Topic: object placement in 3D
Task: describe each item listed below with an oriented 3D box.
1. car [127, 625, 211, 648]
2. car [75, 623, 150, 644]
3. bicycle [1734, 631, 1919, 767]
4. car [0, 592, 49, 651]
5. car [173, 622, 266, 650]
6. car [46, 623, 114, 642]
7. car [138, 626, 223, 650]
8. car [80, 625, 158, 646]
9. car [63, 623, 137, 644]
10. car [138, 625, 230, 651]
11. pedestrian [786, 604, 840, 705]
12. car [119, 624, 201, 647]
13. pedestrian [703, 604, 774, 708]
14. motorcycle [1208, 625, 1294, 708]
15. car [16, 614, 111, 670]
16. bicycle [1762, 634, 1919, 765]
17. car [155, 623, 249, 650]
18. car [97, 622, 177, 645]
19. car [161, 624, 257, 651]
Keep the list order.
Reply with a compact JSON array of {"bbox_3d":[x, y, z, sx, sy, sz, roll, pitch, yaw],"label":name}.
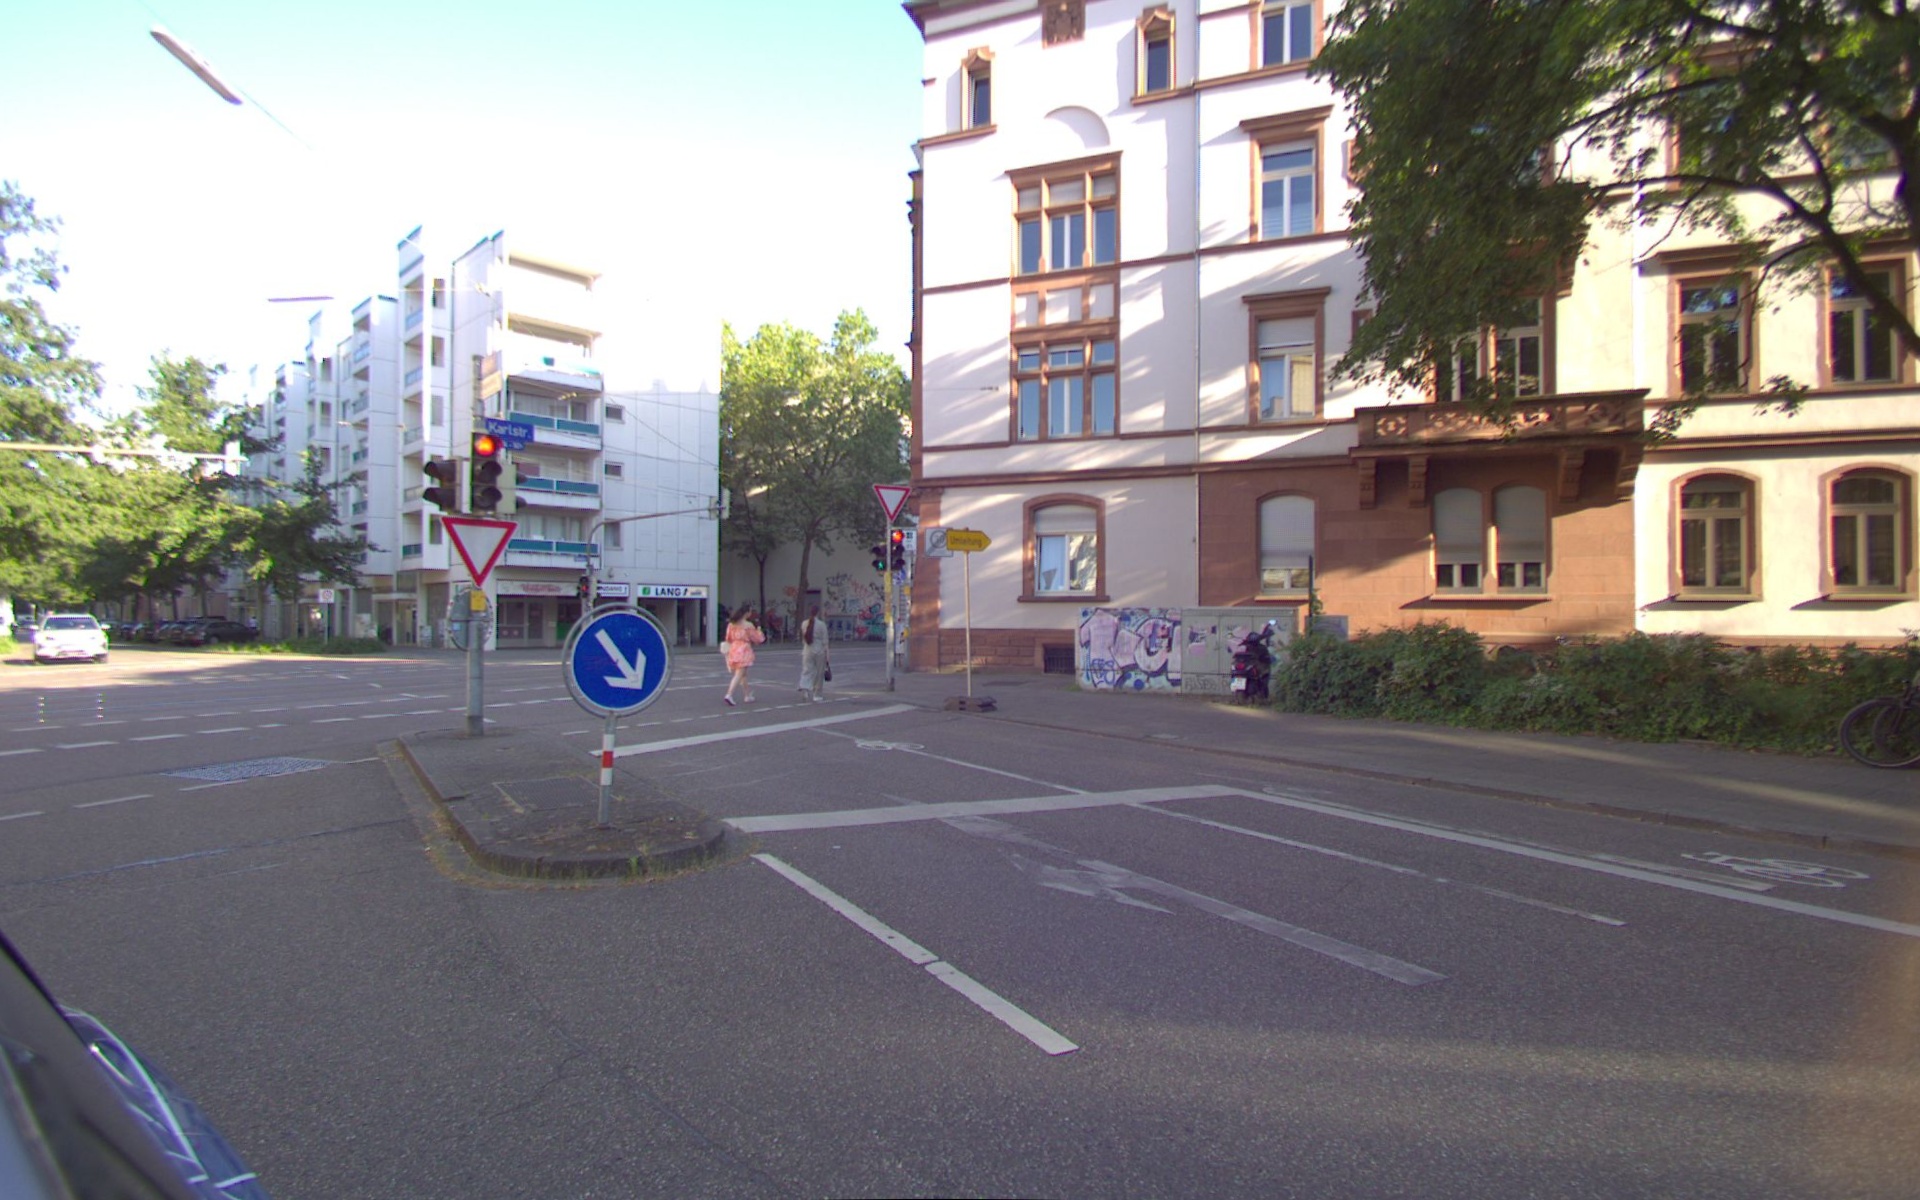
[{"bbox_3d":[-55.303,2.543,70.789,1.997,1.597,4.249,-1,-2,38],"label":"car"},{"bbox_3d":[-66.866,2.619,79.913,1.997,1.597,4.249,-1,-2,38],"label":"car"},{"bbox_3d":[8.813,0.885,9.097,0.538,1.205,2.968,1,-2,-29],"label":"bicycle"},{"bbox_3d":[-54.778,1.239,57.524,8.076,3.203,3.282,-1,-2,40],"label":"car"},{"bbox_3d":[-43.201,2.096,59.091,1.997,1.597,3.950,-1,-2,37],"label":"car"},{"bbox_3d":[-78.131,2.878,89.858,1.997,1.597,4.249,-1,-2,38],"label":"car"},{"bbox_3d":[-52.822,2.569,68.634,1.997,1.597,4.249,-1,-2,38],"label":"car"},{"bbox_3d":[-64.393,2.682,77.510,1.997,1.597,4.249,-1,-2,38],"label":"car"},{"bbox_3d":[-69.220,2.673,81.508,1.997,1.597,4.249,-1,-2,38],"label":"car"},{"bbox_3d":[-48.907,2.362,63.853,1.997,1.597,4.251,-1,-2,37],"label":"car"},{"bbox_3d":[-2.596,0.946,17.832,0.855,1.710,0.986,0,-2,-12],"label":"pedestrian"},{"bbox_3d":[-57.162,2.523,72.325,1.997,1.597,4.249,-1,-2,38],"label":"car"},{"bbox_3d":[-3.735,0.931,17.132,0.860,1.710,0.980,0,-2,12],"label":"pedestrian"},{"bbox_3d":[4.853,1.059,16.788,0.840,1.275,2.087,-1,-2,32],"label":"motorcycle"},{"bbox_3d":[-30.243,1.371,34.110,4.000,1.763,1.972,-1,-2,43],"label":"car"},{"bbox_3d":[9.323,0.933,9.383,0.538,1.205,2.968,1,-2,-29],"label":"bicycle"},{"bbox_3d":[-46.835,2.248,62.576,1.997,1.597,4.251,-1,-2,37],"label":"car"},{"bbox_3d":[-61.051,2.472,75.104,1.997,1.597,4.249,-1,-2,38],"label":"car"},{"bbox_3d":[-45.023,2.233,60.721,1.997,1.597,4.251,-1,-2,37],"label":"car"}]
